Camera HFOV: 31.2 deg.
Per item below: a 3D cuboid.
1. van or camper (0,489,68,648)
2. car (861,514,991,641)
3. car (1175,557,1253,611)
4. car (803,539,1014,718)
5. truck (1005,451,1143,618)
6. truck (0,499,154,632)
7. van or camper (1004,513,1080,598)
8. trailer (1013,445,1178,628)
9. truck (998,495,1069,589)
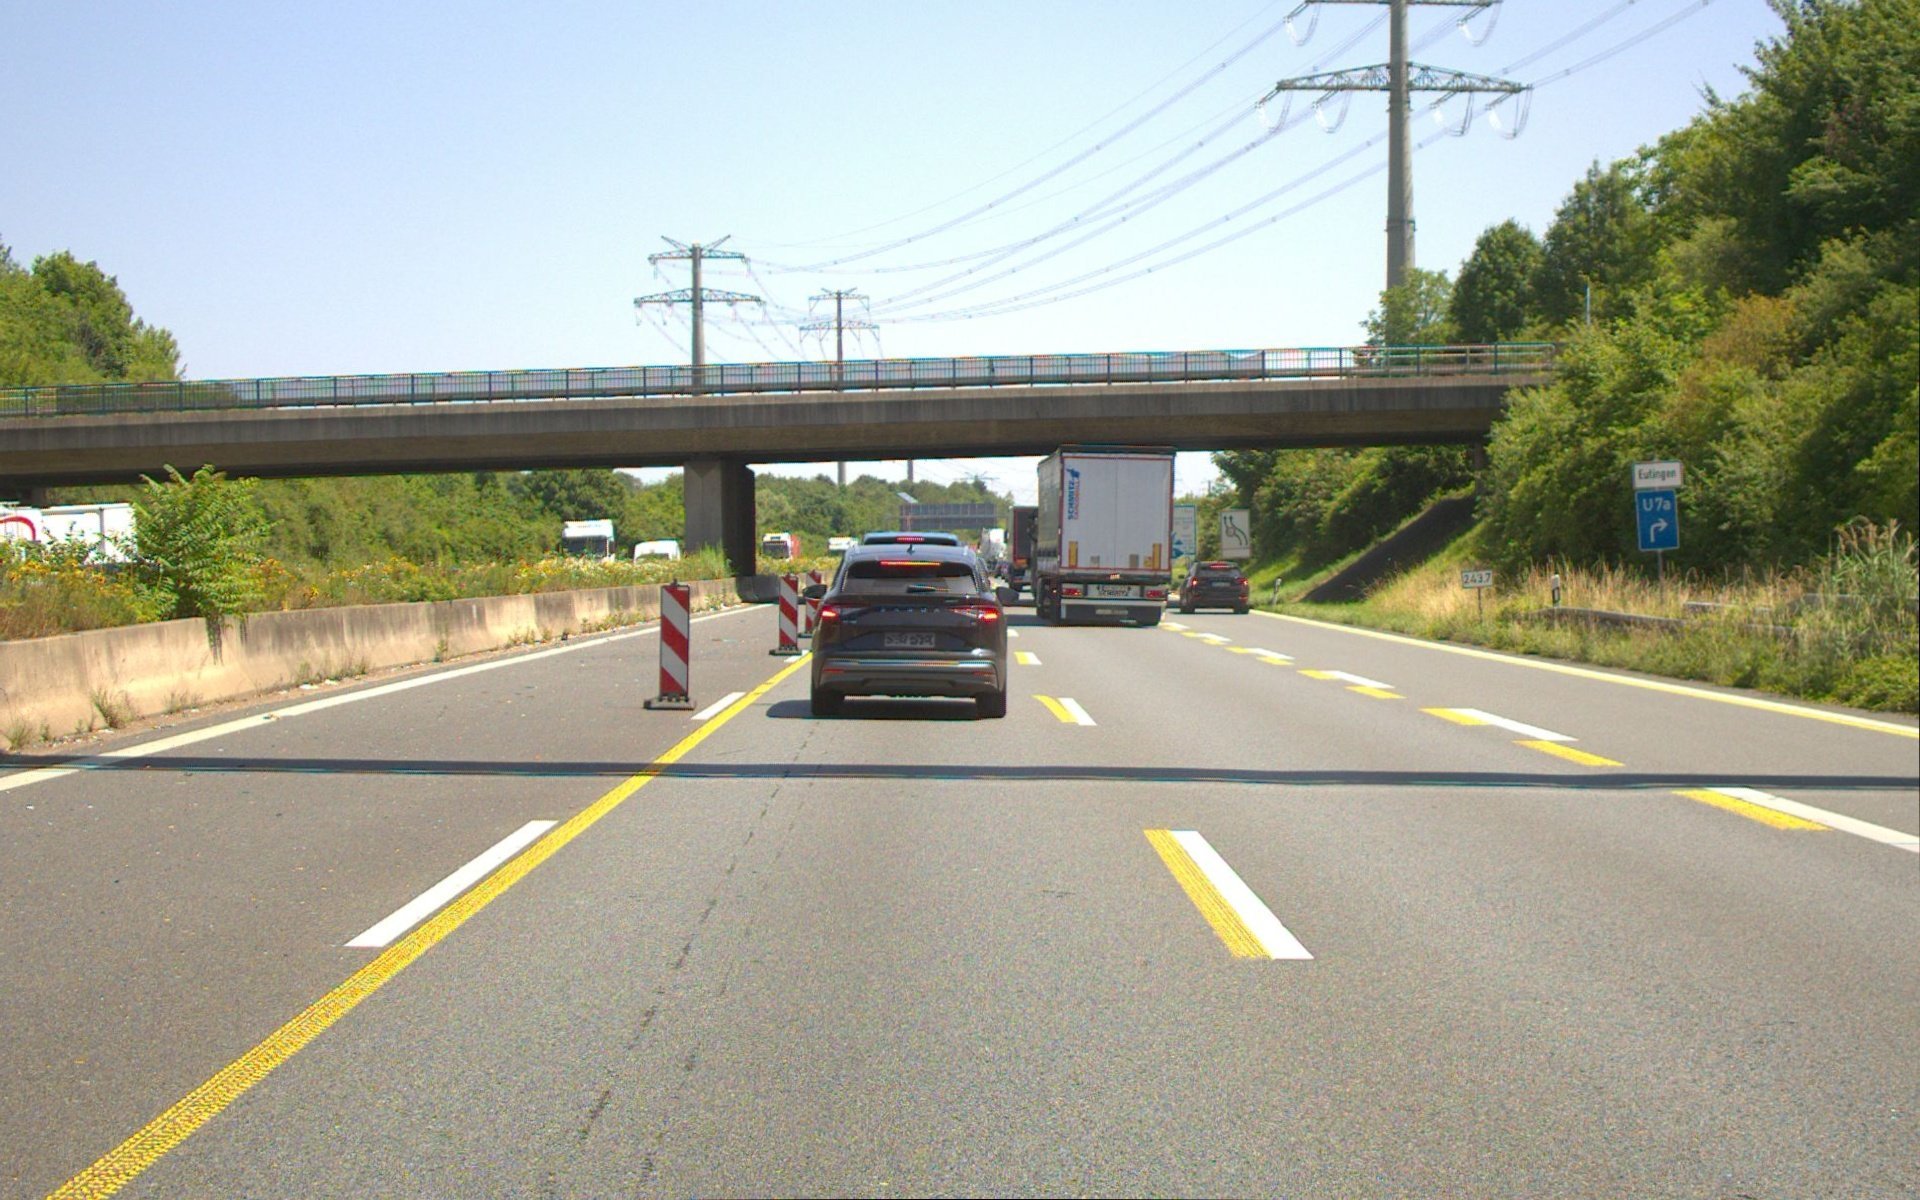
[{"bbox_3d":[-20.173,-0.621,69.339,2.435,3.136,7.627,-1,1,-1],"label":"van or camper"},{"bbox_3d":[-0.577,-0.319,54.945,1.895,1.835,4.442,3,-1,-1],"label":"car"},{"bbox_3d":[7.208,-0.473,97.918,1.779,1.484,4.464,1,1,-1],"label":"car"},{"bbox_3d":[-0.524,0.214,33.188,1.895,1.586,4.443,0,1,-1],"label":"car"},{"bbox_3d":[2.861,-1.679,88.692,3.024,4.073,7.796,1,1,-2],"label":"truck"},{"bbox_3d":[-22.637,-0.896,88.065,2.495,3.248,6.365,-1,1,-1],"label":"truck"},{"bbox_3d":[2.932,-1.630,124.830,2.586,2.958,6.085,1,1,0],"label":"van or camper"},{"bbox_3d":[3.085,-1.507,81.892,3.065,4.028,11.489,0,1,-2],"label":"trailer"},{"bbox_3d":[3.370,-2.691,161.157,3.078,4.132,13.054,1,1,1],"label":"truck"}]
